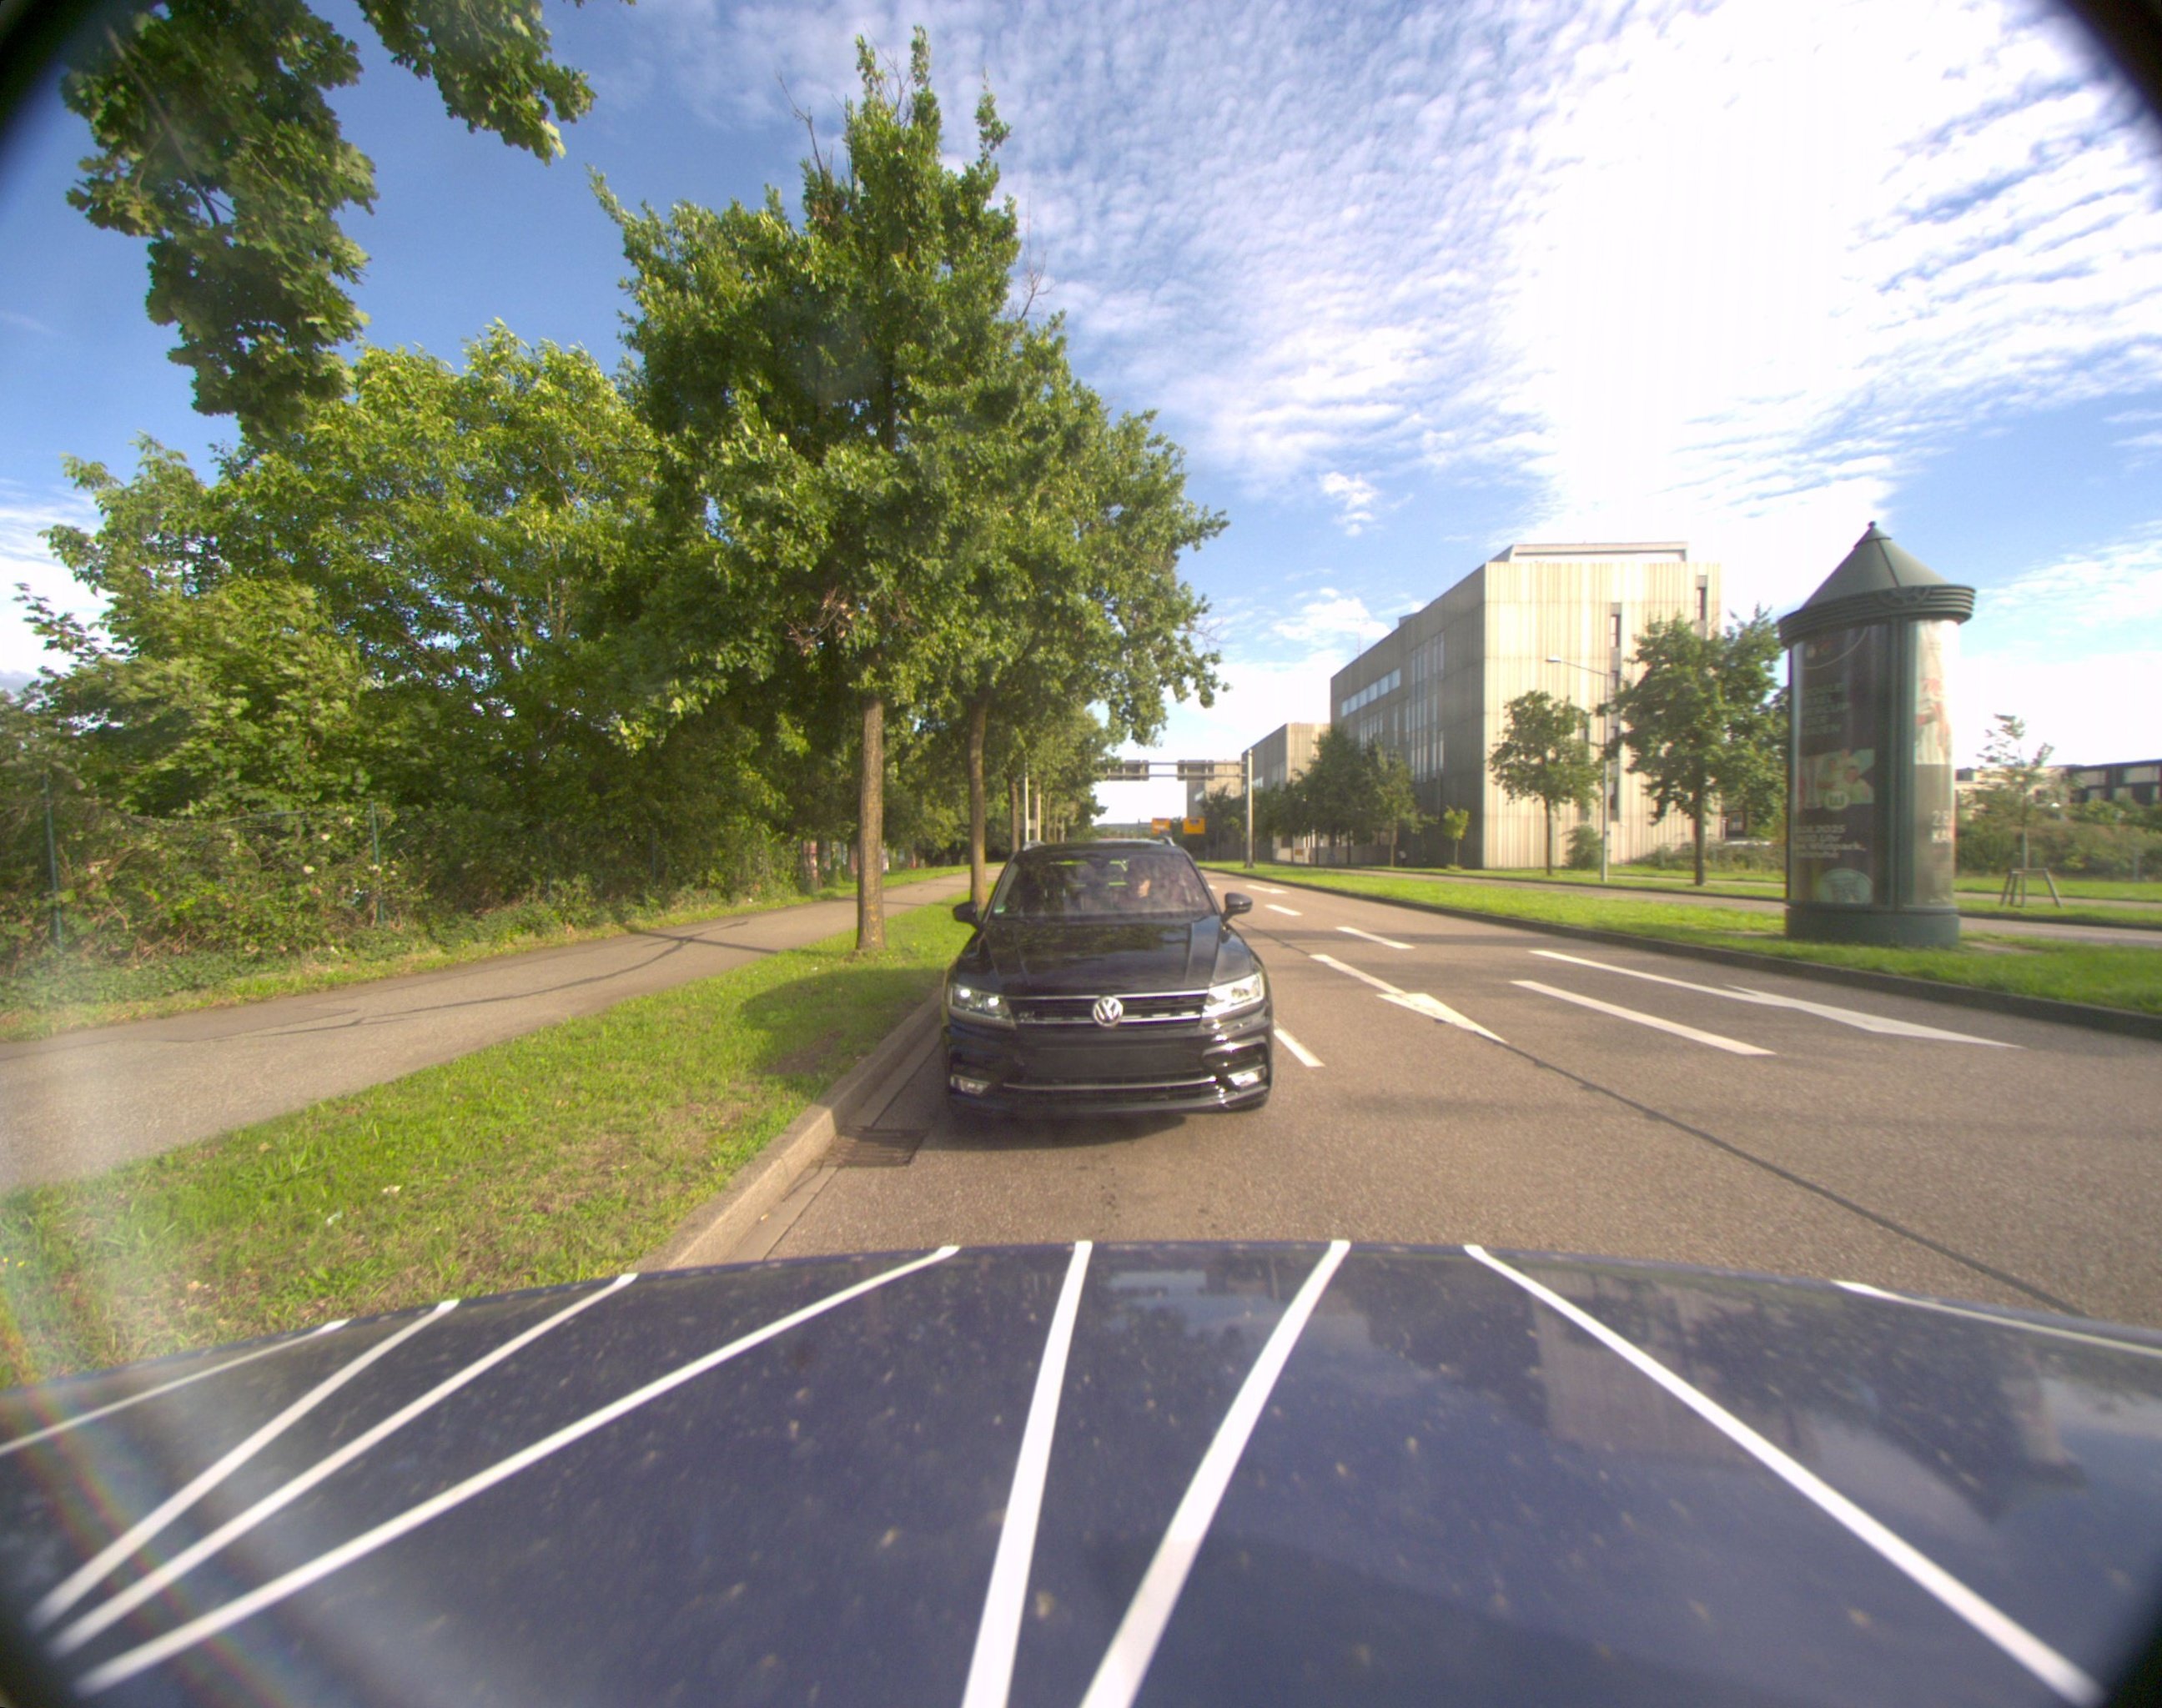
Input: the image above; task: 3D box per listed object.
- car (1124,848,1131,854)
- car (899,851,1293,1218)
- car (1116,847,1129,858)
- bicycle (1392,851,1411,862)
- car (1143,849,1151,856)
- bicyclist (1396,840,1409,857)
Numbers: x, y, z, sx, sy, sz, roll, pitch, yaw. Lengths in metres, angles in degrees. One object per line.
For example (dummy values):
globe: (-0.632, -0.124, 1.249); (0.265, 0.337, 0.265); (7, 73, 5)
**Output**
car: (15.061, -1.107, 247.354); (1.998, 2.002, 3.983); (0, 0, 0)
car: (0.122, 0.836, 5.450); (1.775, 1.637, 3.868); (-2, 1, 2)
car: (5.734, -0.213, 104.072); (1.745, 1.455, 4.000); (-1, 1, 3)
bicycle: (28.612, 0.195, 67.782); (0.897, 0.975, 1.911); (0, 0, 1)
car: (18.600, -0.480, 215.368); (1.998, 2.002, 4.000); (0, 0, 0)
bicyclist: (28.620, -0.492, 67.648); (0.707, 1.517, 0.989); (0, 1, 1)
